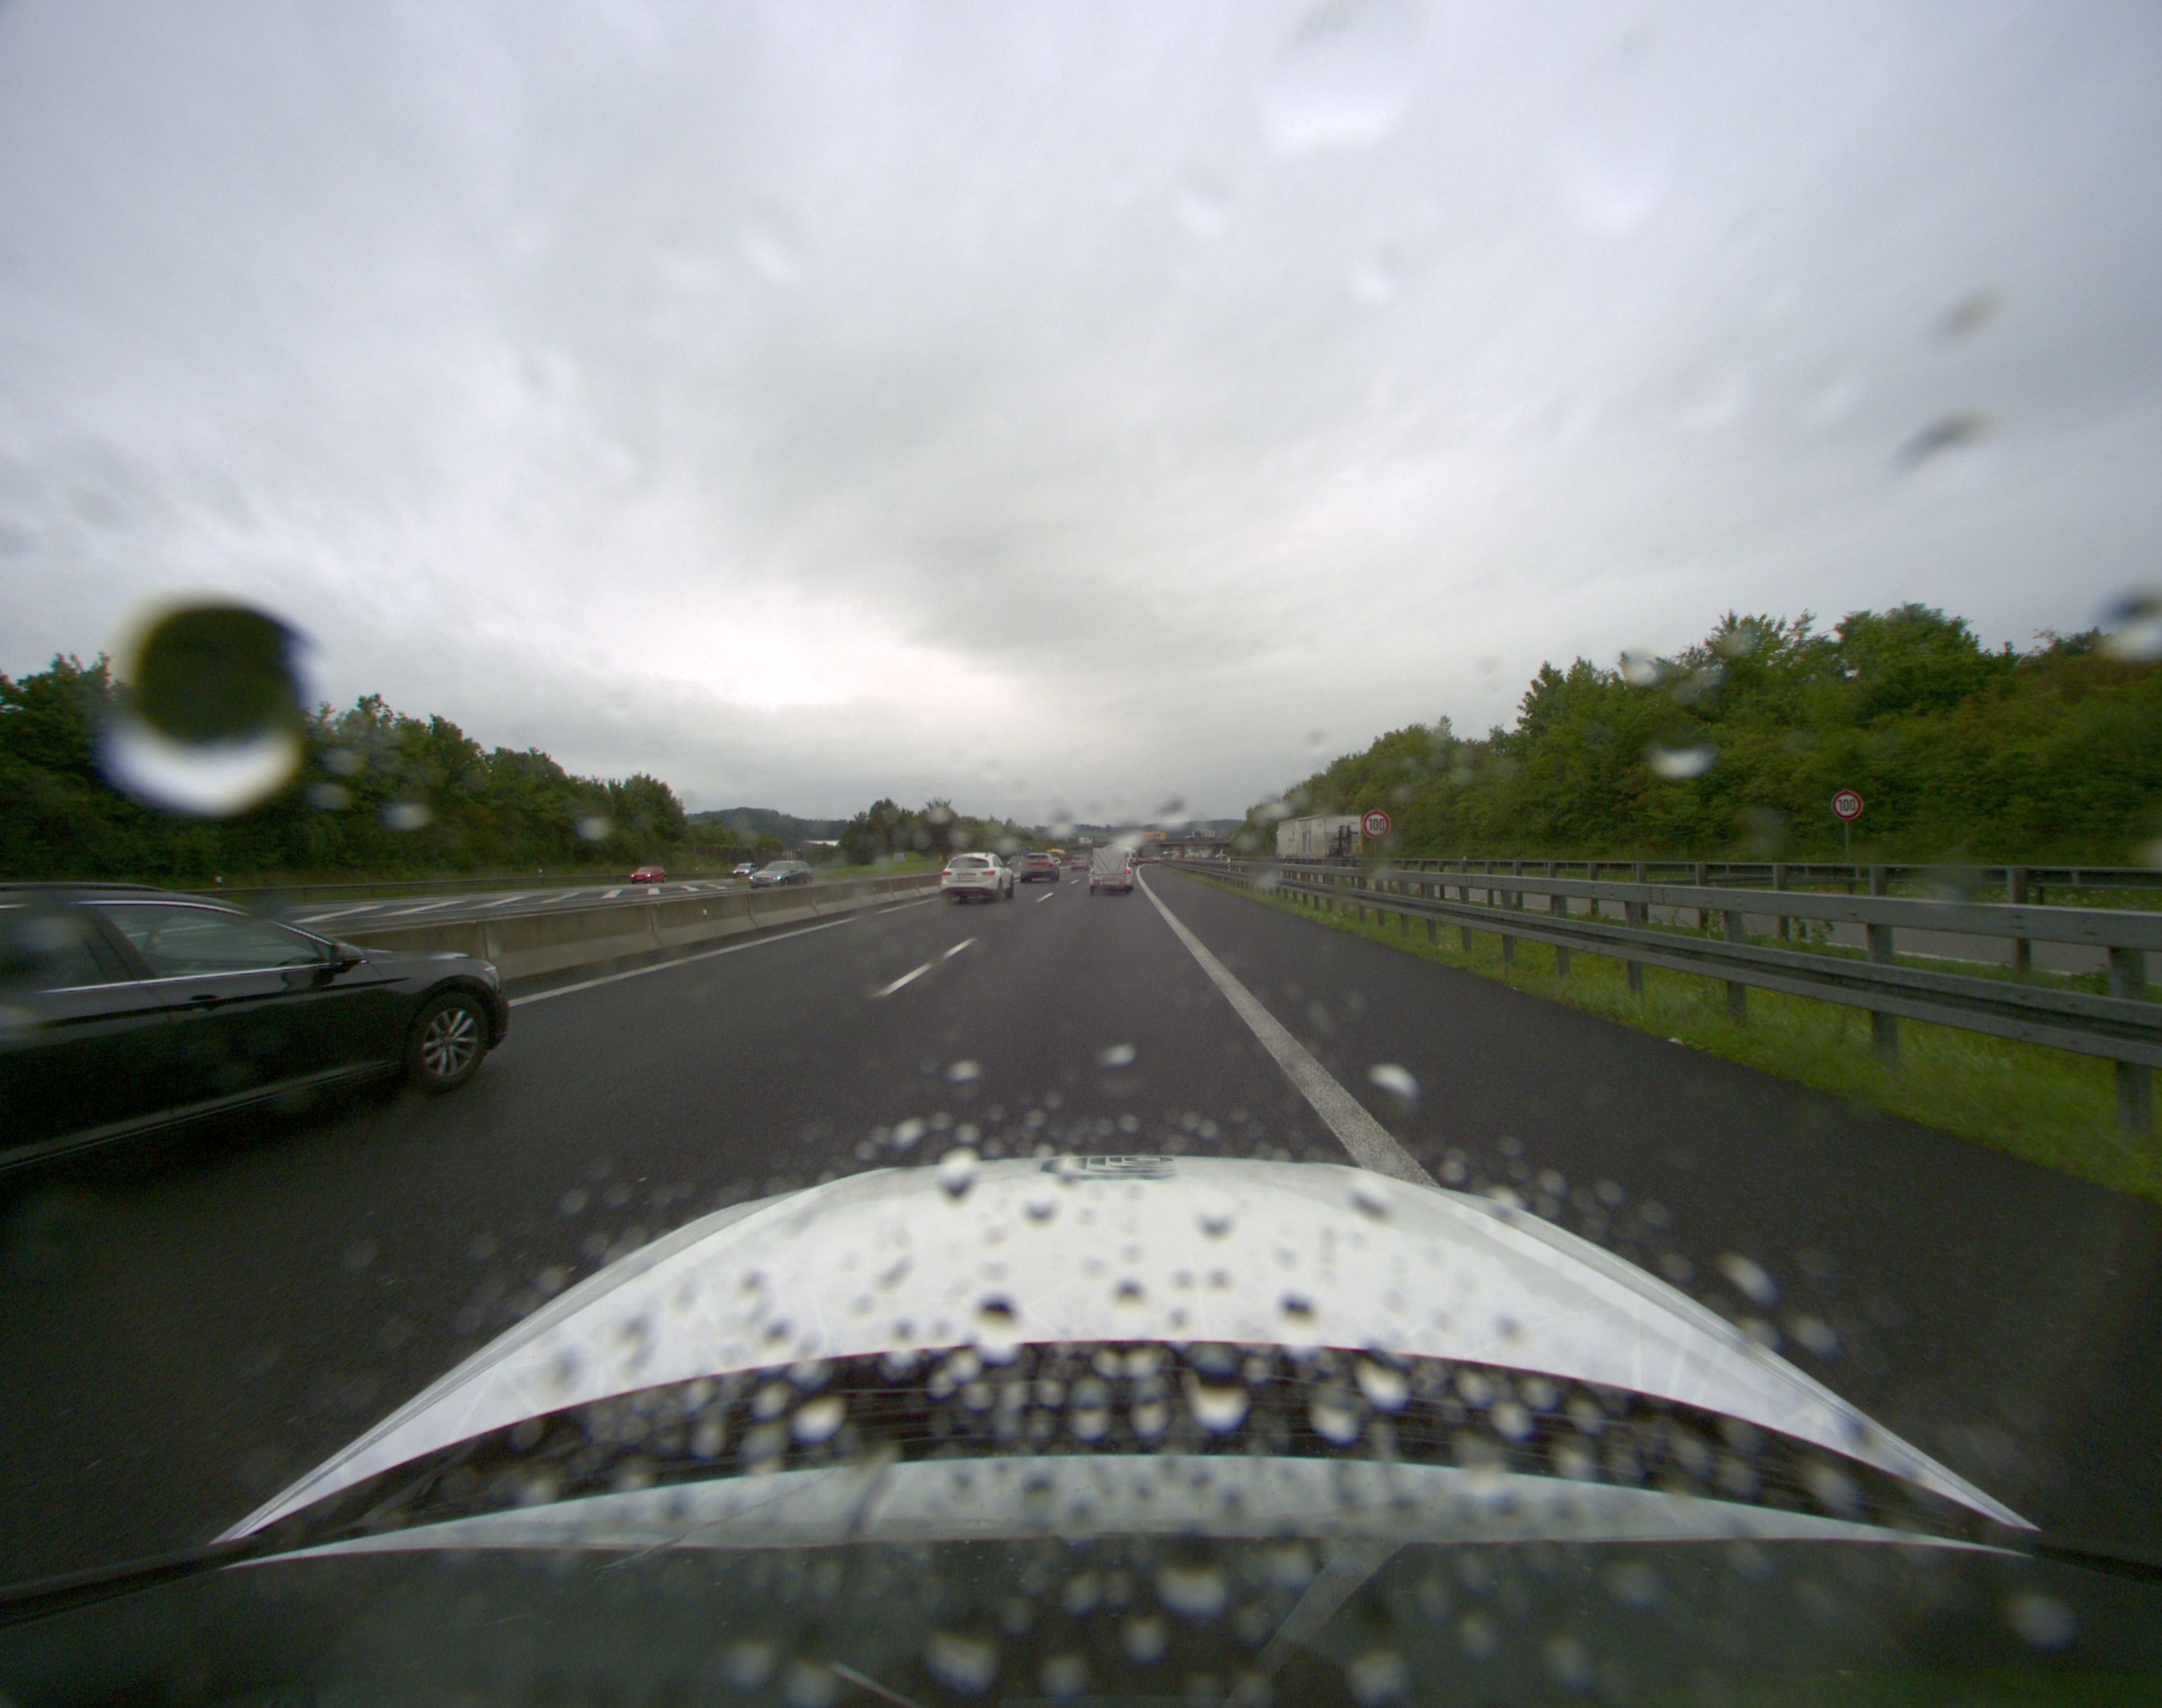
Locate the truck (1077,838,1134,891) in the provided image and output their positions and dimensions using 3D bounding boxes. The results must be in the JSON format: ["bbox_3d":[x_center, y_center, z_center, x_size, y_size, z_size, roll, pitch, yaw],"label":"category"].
[{"bbox_3d":[1.171,0.386,34.455,2.009,1.985,7.222,-1,0,5],"label":"truck"}]

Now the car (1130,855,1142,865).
[{"bbox_3d":[10.458,1.121,155.598,1.987,1.750,4.000,0,0,0],"label":"car"}]

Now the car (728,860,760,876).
[{"bbox_3d":[-40.130,1.641,97.068,2.177,1.696,4.559,-1,0,-6],"label":"car"}]

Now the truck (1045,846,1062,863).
[{"bbox_3d":[-5.490,0.144,163.927,2.748,3.398,5.854,0,0,5],"label":"truck"}]

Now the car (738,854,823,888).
[{"bbox_3d":[-16.023,0.860,43.832,2.169,1.695,5.258,-1,0,6],"label":"car"}]

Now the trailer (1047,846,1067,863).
[{"bbox_3d":[-4.927,0.174,170.321,2.748,3.398,11.463,0,0,5],"label":"trailer"}]

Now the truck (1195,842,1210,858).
[{"bbox_3d":[38.932,-1.306,260.775,4.075,5.103,10.476,-1,0,4],"label":"truck"}]

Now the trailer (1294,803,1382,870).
[{"bbox_3d":[18.239,-1.175,58.700,3.423,4.289,10.461,-1,0,3],"label":"trailer"}]

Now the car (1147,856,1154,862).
[{"bbox_3d":[20.417,1.512,237.883,1.984,1.750,4.006,0,0,5],"label":"car"}]

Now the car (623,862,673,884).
[{"bbox_3d":[-36.540,1.611,68.858,2.178,1.696,4.616,-1,0,-7],"label":"car"}]

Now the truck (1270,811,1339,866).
[{"bbox_3d":[18.776,-1.235,69.119,3.423,4.289,10.426,-1,0,3],"label":"truck"}]

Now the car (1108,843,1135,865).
[{"bbox_3d":[5.066,0.007,99.778,3.002,2.616,6.083,-1,0,5],"label":"car"}]

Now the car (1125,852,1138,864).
[{"bbox_3d":[8.525,0.656,136.727,1.987,2.036,4.152,0,0,0],"label":"car"}]

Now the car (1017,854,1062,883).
[{"bbox_3d":[-2.414,0.838,48.516,2.165,1.631,4.503,-1,0,3],"label":"car"}]

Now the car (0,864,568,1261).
[{"bbox_3d":[-5.056,0.832,3.903,1.892,1.497,4.855,-1,0,3],"label":"car"}]

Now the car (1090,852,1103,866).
[{"bbox_3d":[2.262,0.705,117.223,1.835,1.819,4.002,-1,0,2],"label":"car"}]

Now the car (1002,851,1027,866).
[{"bbox_3d":[-8.064,0.539,98.970,2.169,1.695,4.739,-1,0,5],"label":"car"}]

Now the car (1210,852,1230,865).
[{"bbox_3d":[16.932,0.557,99.399,1.852,1.447,4.160,-1,0,2],"label":"car"}]

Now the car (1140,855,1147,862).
[{"bbox_3d":[16.118,1.141,209.985,1.984,1.750,4.005,0,0,4],"label":"car"}]

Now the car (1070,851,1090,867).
[{"bbox_3d":[-0.073,0.489,87.799,1.893,1.613,4.019,-1,0,2],"label":"car"}]

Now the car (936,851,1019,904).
[{"bbox_3d":[-3.462,0.752,28.108,1.967,1.639,4.505,-1,0,4],"label":"car"}]
